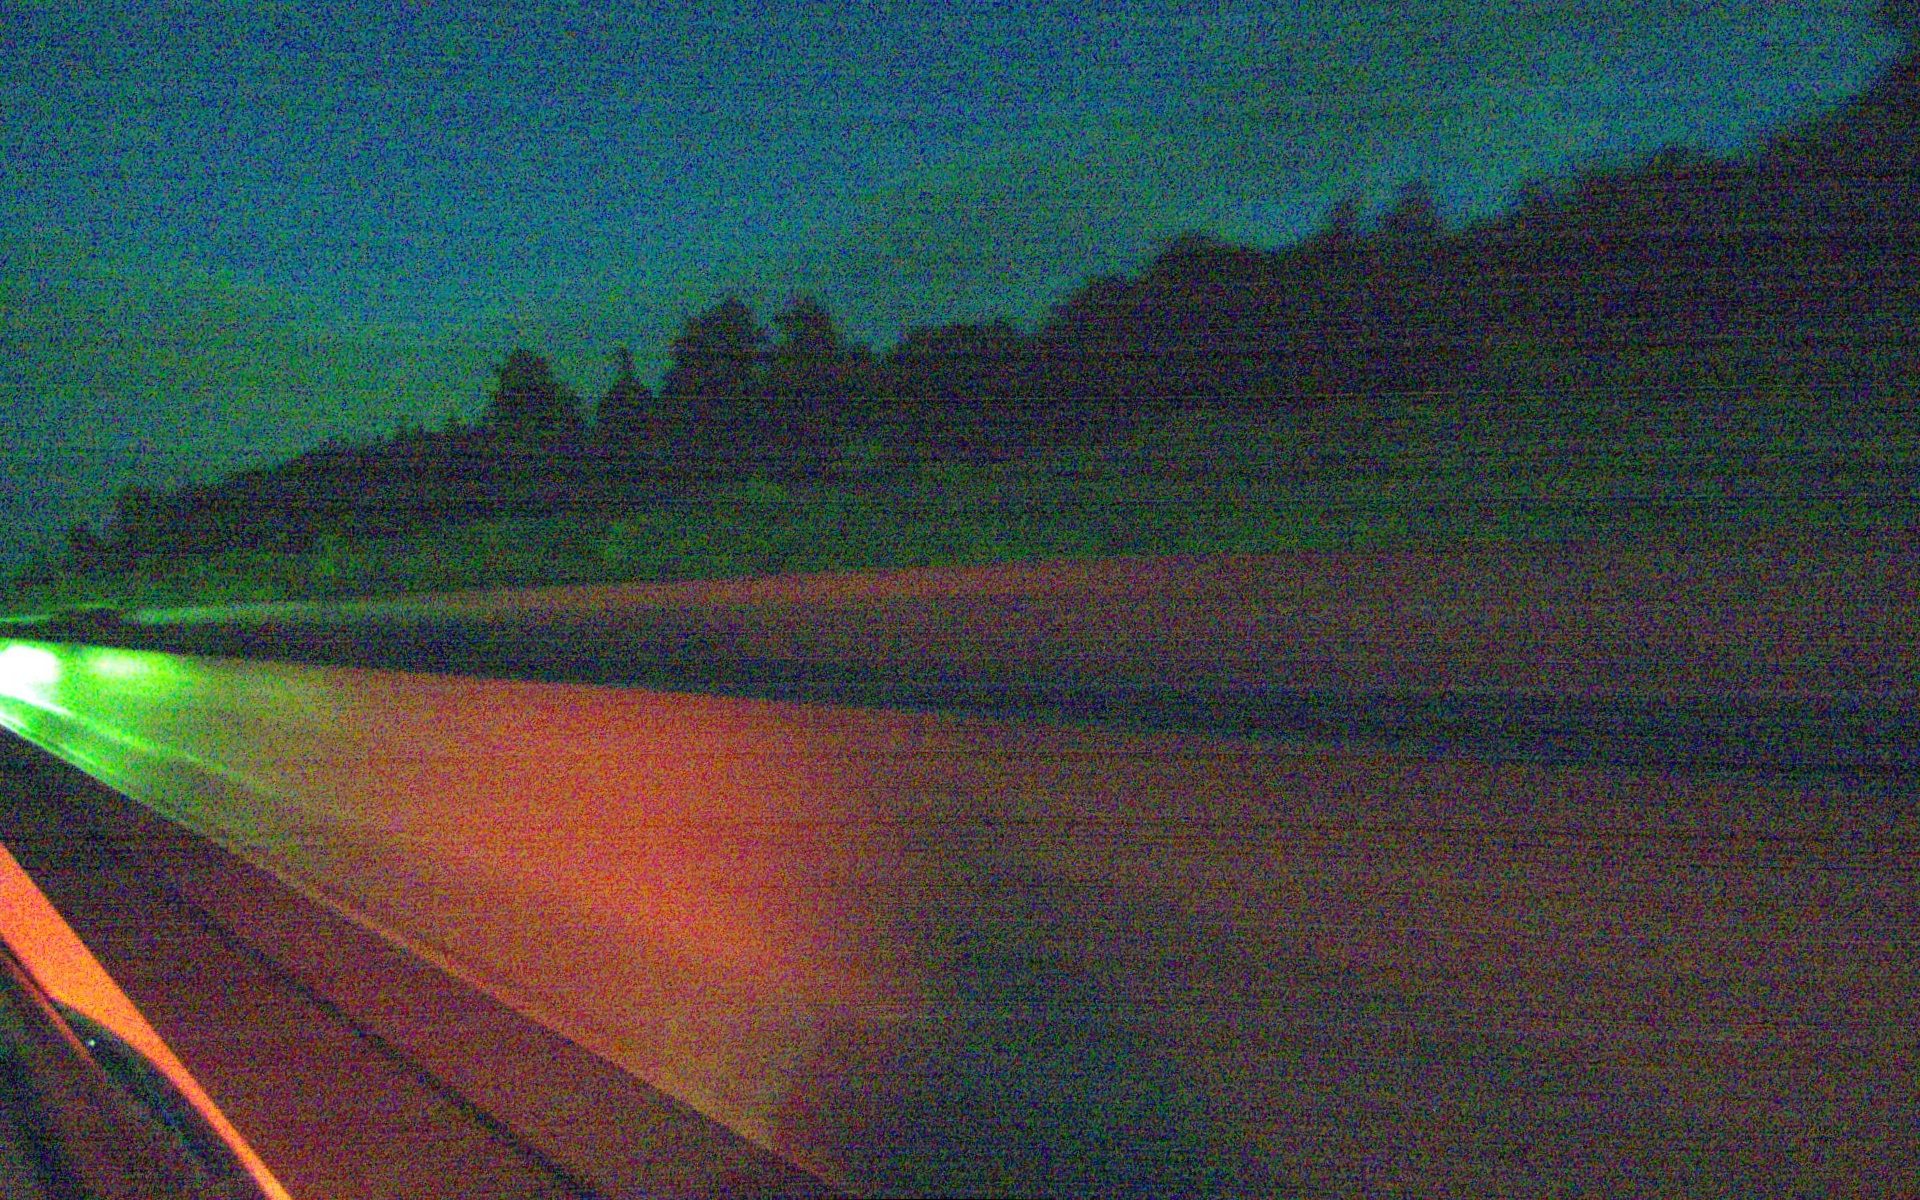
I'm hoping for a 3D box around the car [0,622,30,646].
[{"bbox_3d":[-78.866,2.875,83.836,5.165,1.789,1.973,-2,2,40],"label":"car"}]

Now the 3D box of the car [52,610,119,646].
[{"bbox_3d":[-48.753,1.578,56.410,4.744,1.789,1.973,-2,2,40],"label":"car"}]

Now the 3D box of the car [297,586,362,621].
[{"bbox_3d":[-36.182,0.234,58.054,3.996,1.940,1.974,-1,-1,40],"label":"car"}]
